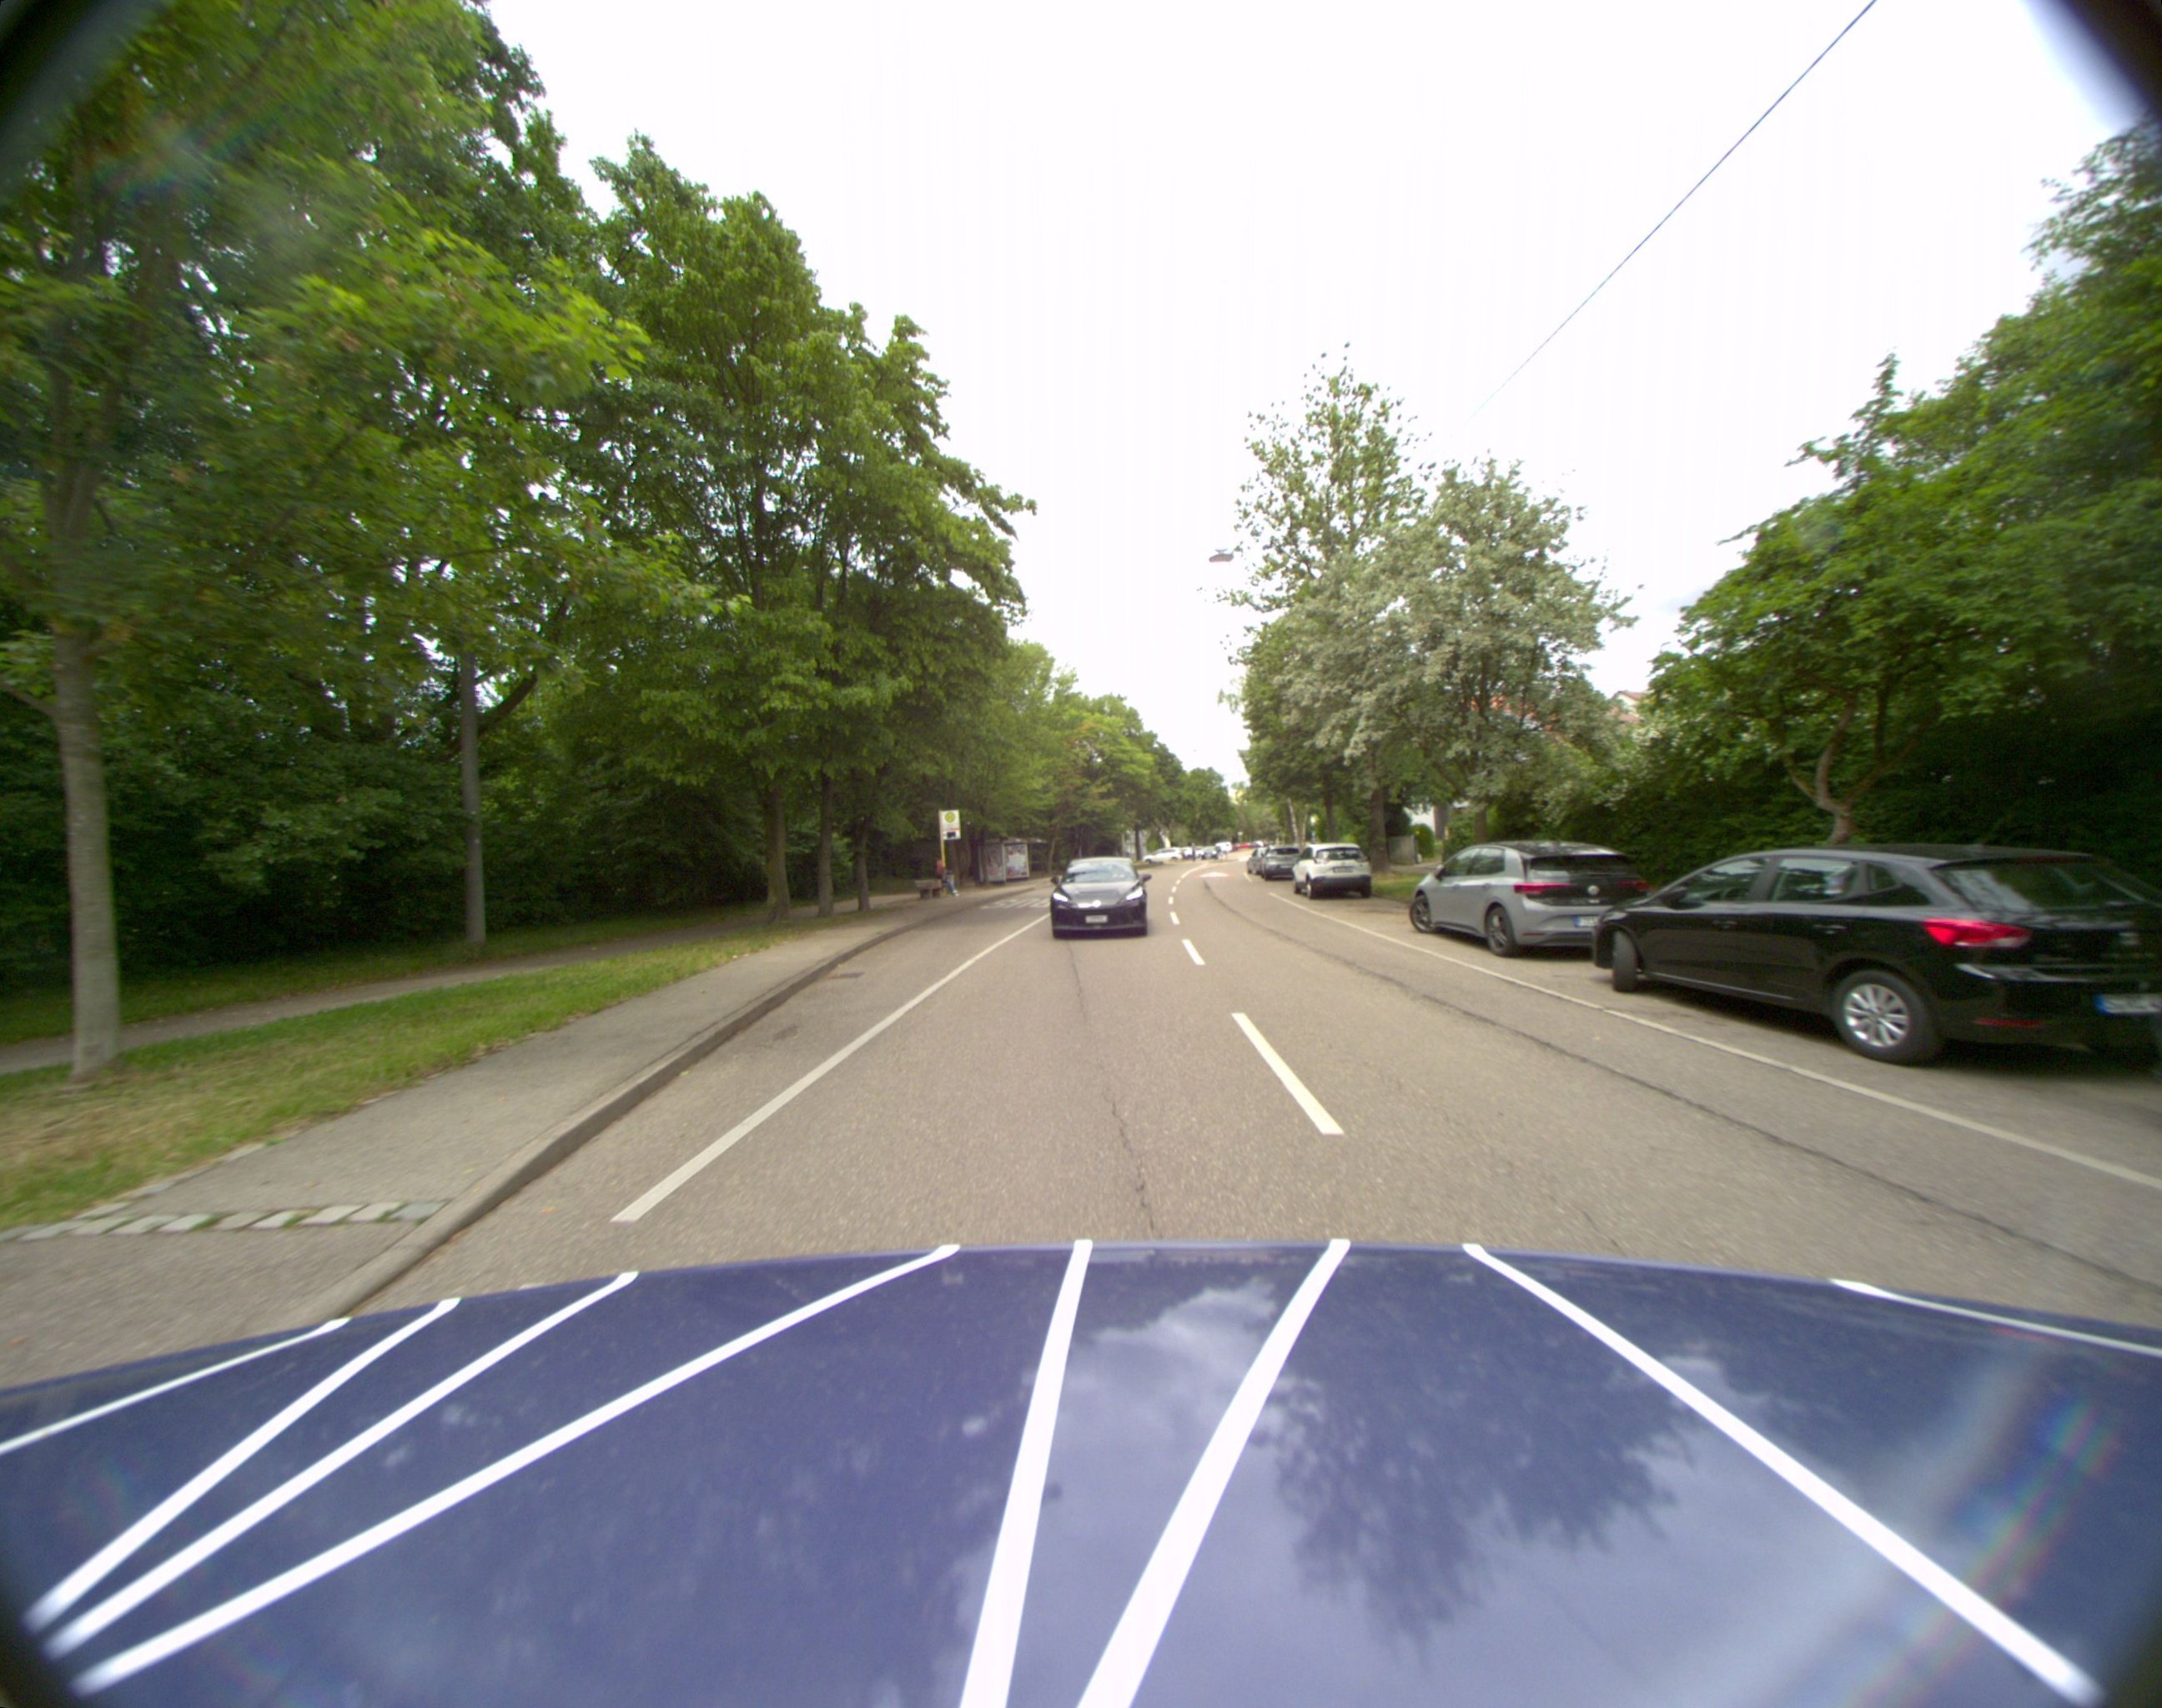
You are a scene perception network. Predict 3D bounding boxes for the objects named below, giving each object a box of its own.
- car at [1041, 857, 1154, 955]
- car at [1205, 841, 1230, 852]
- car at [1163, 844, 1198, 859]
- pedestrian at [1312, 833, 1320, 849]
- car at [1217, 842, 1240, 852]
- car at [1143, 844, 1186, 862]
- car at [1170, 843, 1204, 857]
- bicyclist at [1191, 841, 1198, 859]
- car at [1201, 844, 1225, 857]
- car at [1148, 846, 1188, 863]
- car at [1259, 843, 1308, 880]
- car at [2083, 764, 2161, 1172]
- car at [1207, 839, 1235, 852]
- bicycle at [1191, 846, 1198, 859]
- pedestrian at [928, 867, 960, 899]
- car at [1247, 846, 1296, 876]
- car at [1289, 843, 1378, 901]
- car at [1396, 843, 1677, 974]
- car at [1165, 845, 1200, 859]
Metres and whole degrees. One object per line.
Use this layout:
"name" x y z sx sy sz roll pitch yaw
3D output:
"car" 0.283 0.885 14.664 1.813 1.484 3.792 -3 1 0
"car" 23.116 -1.241 128.685 3.853 1.430 1.716 -5 1 6
"car" 12.459 -0.301 95.342 3.998 1.455 1.865 -5 1 -5
"pedestrian" 25.465 -1.379 82.266 0.693 1.701 0.779 -4 1 10
"car" 26.606 -1.326 136.938 3.853 1.426 1.655 -5 1 6
"car" 9.130 -0.077 83.034 4.477 1.576 1.907 -5 1 7
"car" 14.355 -0.547 102.853 4.001 1.455 1.849 -5 1 -13
"bicyclist" 11.429 -0.389 76.410 0.647 1.769 0.628 -3 2 8
"car" 14.941 -0.413 85.822 1.858 1.366 4.081 -4 0 20
"car" 9.699 0.061 84.650 4.143 1.455 1.798 -5 1 1
"car" 9.142 0.308 34.542 1.738 1.529 4.192 -2 1 10
"car" 5.840 0.516 1.208 1.862 1.898 5.083 -3 1 2
"car" 24.228 -1.485 131.515 4.220 1.748 1.858 -5 1 -5
"bicycle" 11.453 -0.117 76.523 0.647 1.230 1.878 -4 1 9
"pedestrian" -5.399 1.141 29.869 1.066 1.175 0.580 -3 1 5
"car" 9.940 0.318 39.959 1.739 1.408 4.473 -2 1 4
"car" 7.504 0.473 22.984 1.739 1.569 4.143 -2 1 7
"car" 6.409 0.647 11.359 1.870 1.529 4.228 -3 1 4
"car" 13.064 -0.310 97.981 3.998 1.455 1.795 -5 1 -5
